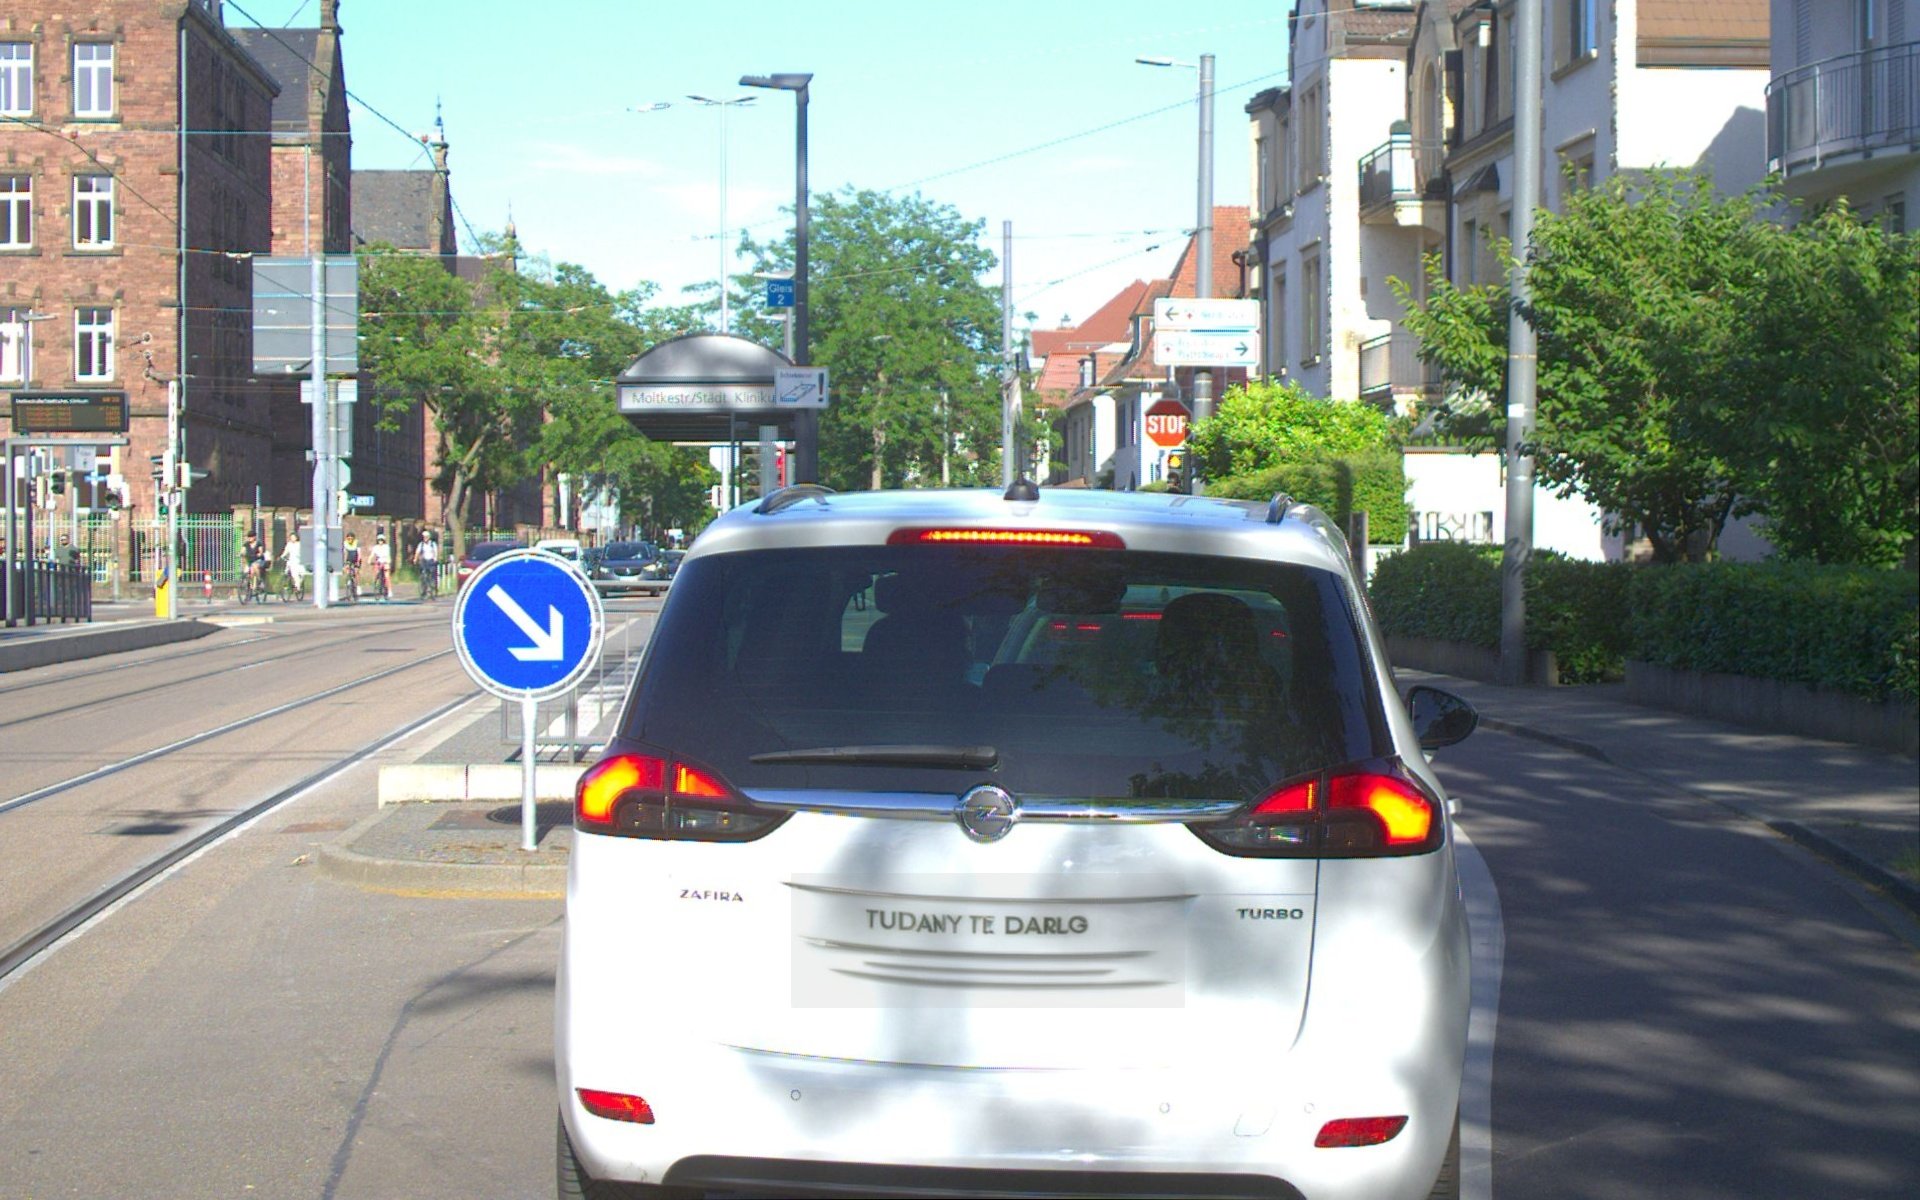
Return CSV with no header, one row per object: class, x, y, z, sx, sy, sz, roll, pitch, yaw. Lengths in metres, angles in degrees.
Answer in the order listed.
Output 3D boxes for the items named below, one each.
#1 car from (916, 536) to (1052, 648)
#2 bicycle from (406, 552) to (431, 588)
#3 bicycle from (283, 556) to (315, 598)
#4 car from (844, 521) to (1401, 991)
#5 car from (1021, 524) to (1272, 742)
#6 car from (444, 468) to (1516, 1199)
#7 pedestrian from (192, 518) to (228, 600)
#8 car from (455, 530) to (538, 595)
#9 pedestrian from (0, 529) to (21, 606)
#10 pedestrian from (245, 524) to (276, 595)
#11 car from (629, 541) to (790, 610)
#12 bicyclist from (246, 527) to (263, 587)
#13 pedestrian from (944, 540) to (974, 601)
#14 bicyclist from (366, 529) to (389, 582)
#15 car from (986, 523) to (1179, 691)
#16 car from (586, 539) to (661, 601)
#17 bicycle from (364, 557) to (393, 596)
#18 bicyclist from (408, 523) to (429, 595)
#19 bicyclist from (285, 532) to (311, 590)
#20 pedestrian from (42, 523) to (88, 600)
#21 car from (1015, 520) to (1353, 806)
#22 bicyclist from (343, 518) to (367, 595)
car,0.333,-0.153,53.081,1.907,1.656,4.001,0,1,-2
bicycle,-15.083,-0.835,95.797,0.487,0.968,1.405,1,1,0
bicycle,-16.913,-0.591,87.981,0.509,1.073,1.739,1,1,-1
car,0.780,0.493,13.767,1.907,1.592,3.999,0,1,7
car,1.564,0.216,28.267,1.907,1.656,4.000,0,1,4
car,0.249,0.558,8.078,1.907,1.656,3.999,0,1,7
pedestrian,-18.536,-1.010,84.965,0.794,2.007,0.721,1,0,-17
car,-12.651,-1.026,94.053,1.746,1.710,4.000,1,1,-1
pedestrian,-22.253,-0.763,79.933,0.766,1.768,0.721,1,0,-17
pedestrian,-20.025,-1.160,98.389,0.689,2.007,0.617,1,0,6
car,-6.498,-0.640,89.059,3.996,1.710,1.748,1,1,38
bicyclist,-16.915,-1.030,82.435,0.313,1.439,0.384,1,0,-1
pedestrian,-0.025,-0.921,107.483,0.808,1.894,0.743,1,0,10
bicyclist,-16.231,-1.250,95.841,0.531,1.472,0.572,1,0,-1
car,1.240,0.034,36.104,1.907,1.656,4.000,0,1,1
car,-9.643,-0.859,98.196,1.746,1.710,4.001,1,1,-11
bicycle,-16.227,-0.661,95.968,0.509,1.073,1.739,1,1,-1
bicyclist,-15.090,-1.138,95.795,0.488,2.007,0.502,1,0,-1
bicyclist,-16.922,-0.996,87.896,0.531,1.472,0.572,1,0,-1
pedestrian,-22.307,-0.965,85.691,0.808,1.894,0.743,1,0,14
car,1.501,0.319,21.606,1.907,1.619,3.999,0,1,7
bicyclist,-15.843,-1.146,90.001,0.498,2.007,0.572,1,0,-1
